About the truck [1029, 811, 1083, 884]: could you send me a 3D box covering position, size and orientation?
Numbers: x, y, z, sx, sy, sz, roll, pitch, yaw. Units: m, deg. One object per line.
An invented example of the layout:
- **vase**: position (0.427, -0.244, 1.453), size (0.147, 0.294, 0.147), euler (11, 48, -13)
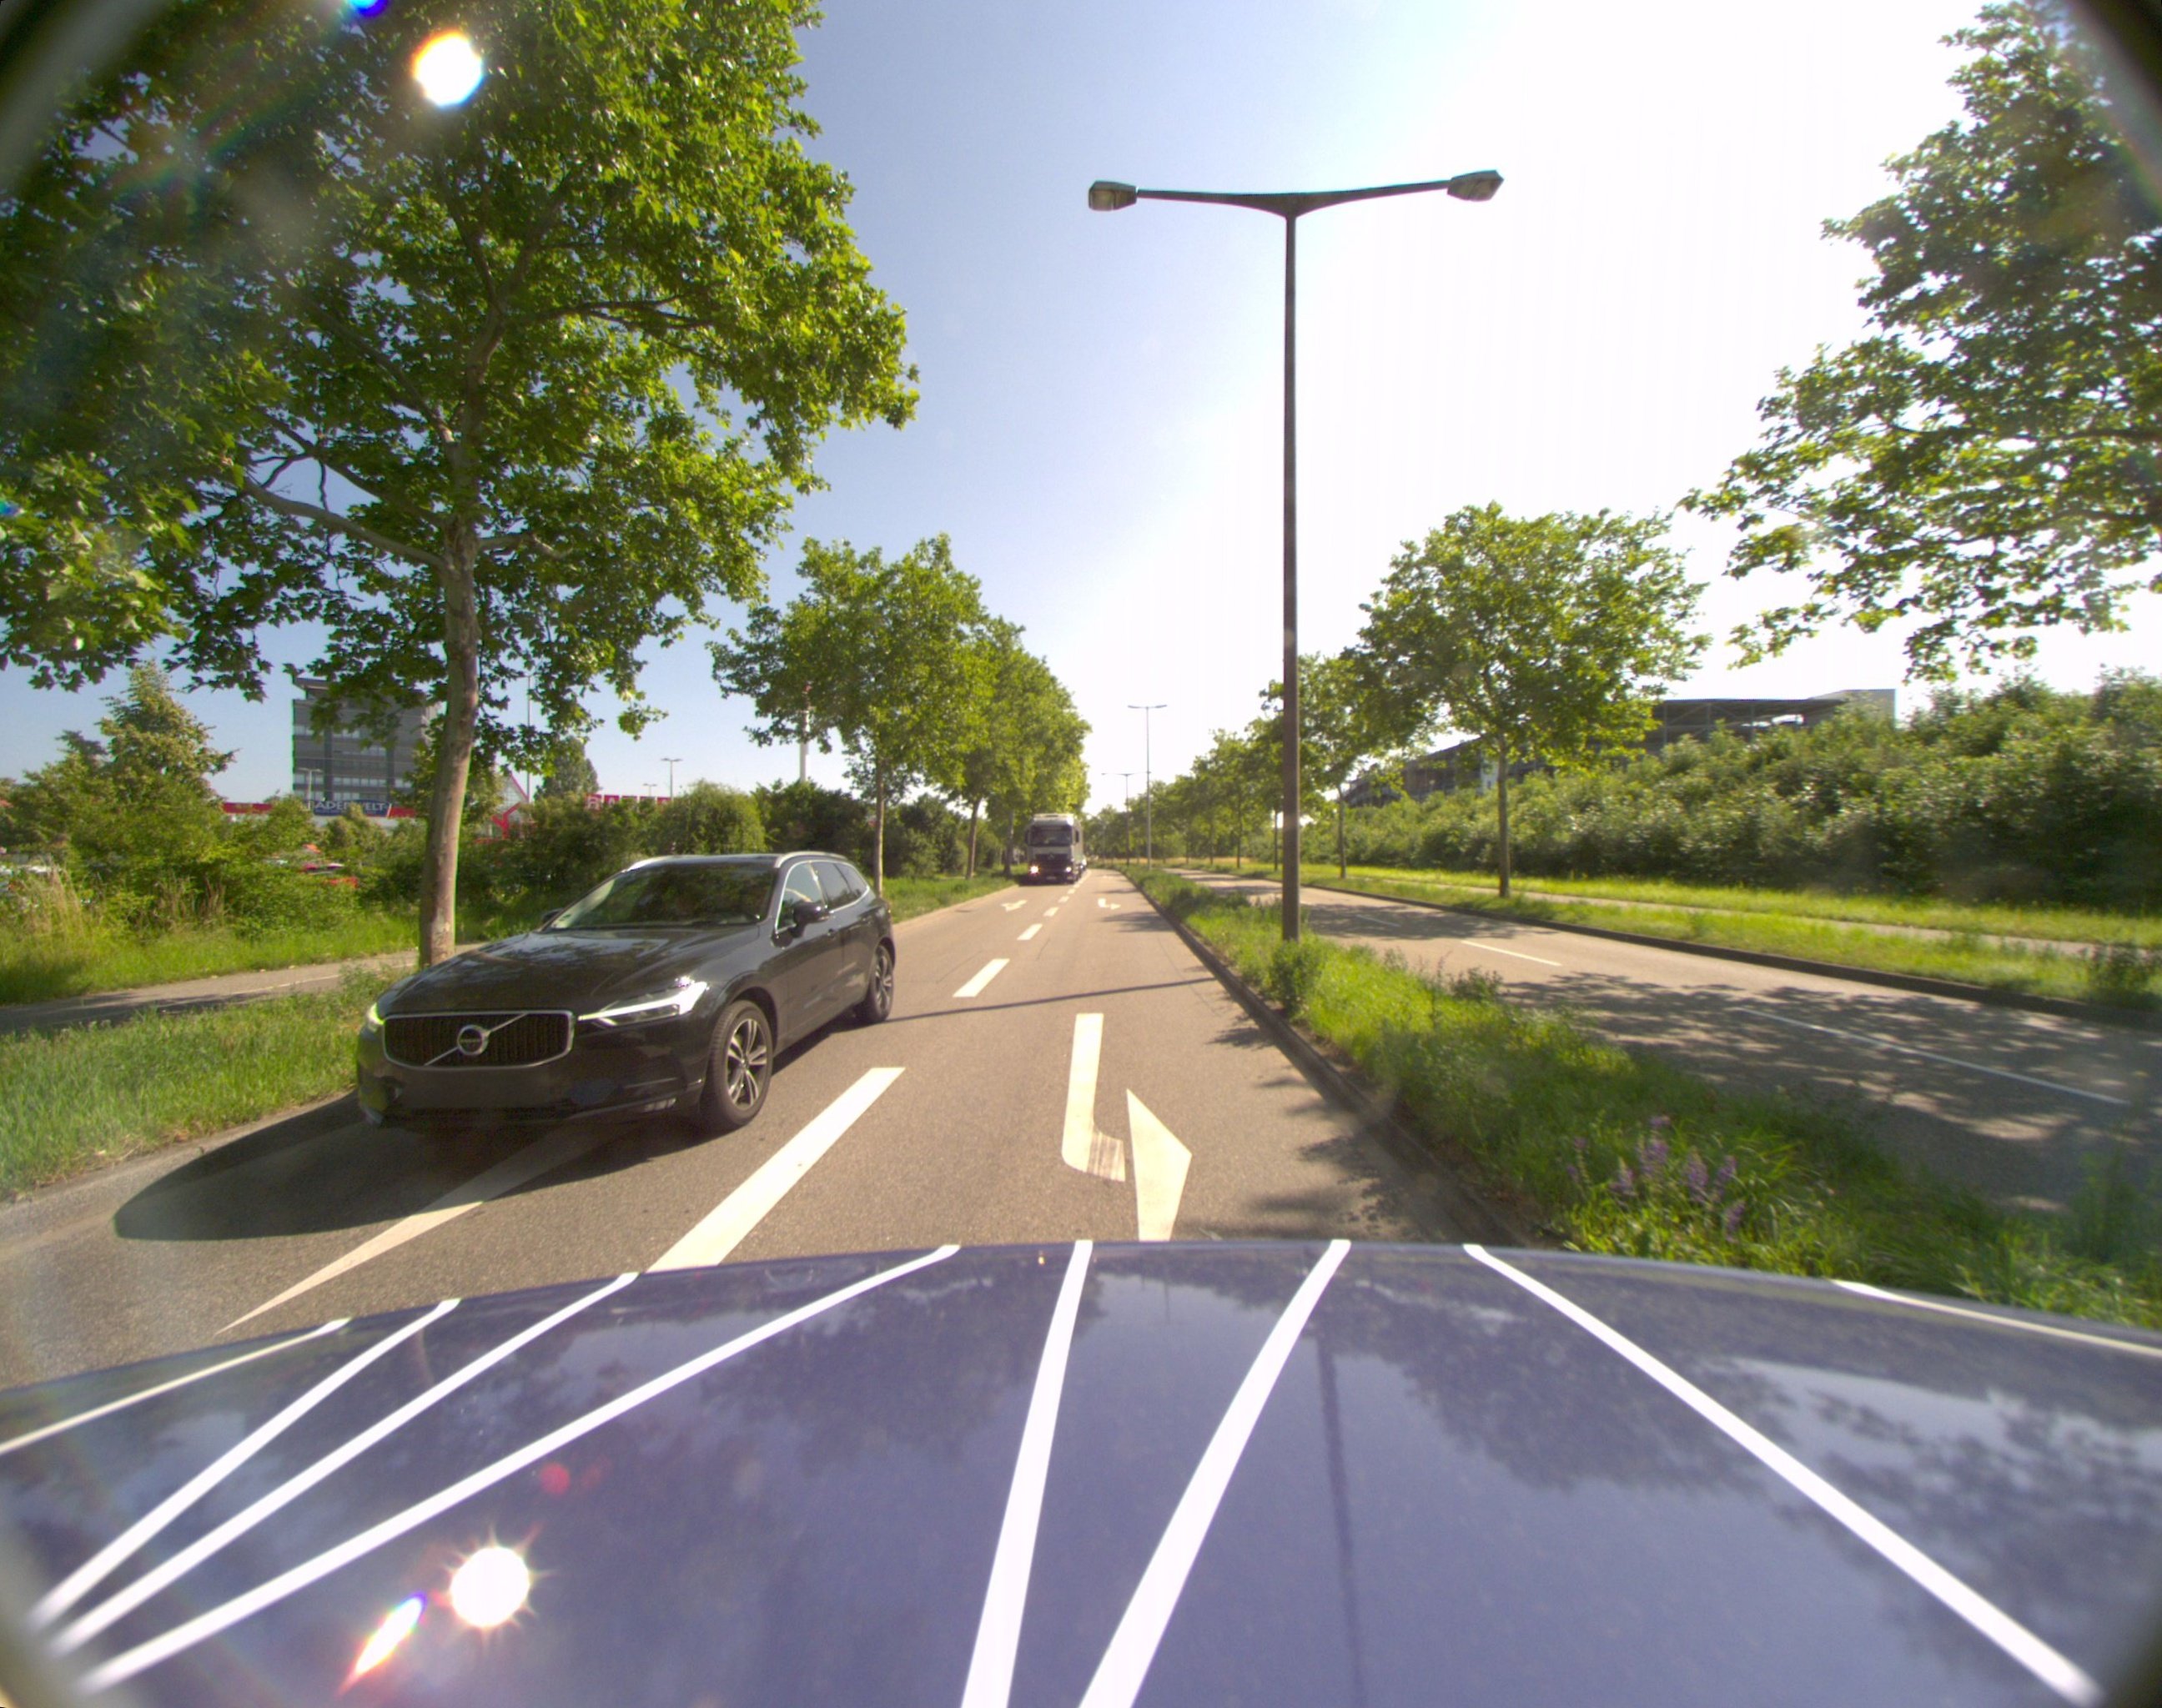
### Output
- **truck**: position (-1.322, -0.379, 43.687), size (2.741, 3.872, 5.851), euler (-1, 1, 1)

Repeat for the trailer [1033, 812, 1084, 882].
- **trailer**: position (-1.267, -0.470, 49.707), size (2.805, 4.023, 10.796), euler (-1, 1, 1)

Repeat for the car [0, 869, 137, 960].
- **car**: position (-22.000, 1.207, 15.299), size (3.558, 1.686, 1.718), euler (-1, 1, -4)

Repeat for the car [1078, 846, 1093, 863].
- **car**: position (0.547, 0.008, 86.908), size (1.691, 1.893, 4.000), euler (-1, 1, 1)

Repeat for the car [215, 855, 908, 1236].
- **car**: position (-2.829, 0.860, 5.659), size (1.924, 1.613, 4.564), euler (-1, 1, 1)
